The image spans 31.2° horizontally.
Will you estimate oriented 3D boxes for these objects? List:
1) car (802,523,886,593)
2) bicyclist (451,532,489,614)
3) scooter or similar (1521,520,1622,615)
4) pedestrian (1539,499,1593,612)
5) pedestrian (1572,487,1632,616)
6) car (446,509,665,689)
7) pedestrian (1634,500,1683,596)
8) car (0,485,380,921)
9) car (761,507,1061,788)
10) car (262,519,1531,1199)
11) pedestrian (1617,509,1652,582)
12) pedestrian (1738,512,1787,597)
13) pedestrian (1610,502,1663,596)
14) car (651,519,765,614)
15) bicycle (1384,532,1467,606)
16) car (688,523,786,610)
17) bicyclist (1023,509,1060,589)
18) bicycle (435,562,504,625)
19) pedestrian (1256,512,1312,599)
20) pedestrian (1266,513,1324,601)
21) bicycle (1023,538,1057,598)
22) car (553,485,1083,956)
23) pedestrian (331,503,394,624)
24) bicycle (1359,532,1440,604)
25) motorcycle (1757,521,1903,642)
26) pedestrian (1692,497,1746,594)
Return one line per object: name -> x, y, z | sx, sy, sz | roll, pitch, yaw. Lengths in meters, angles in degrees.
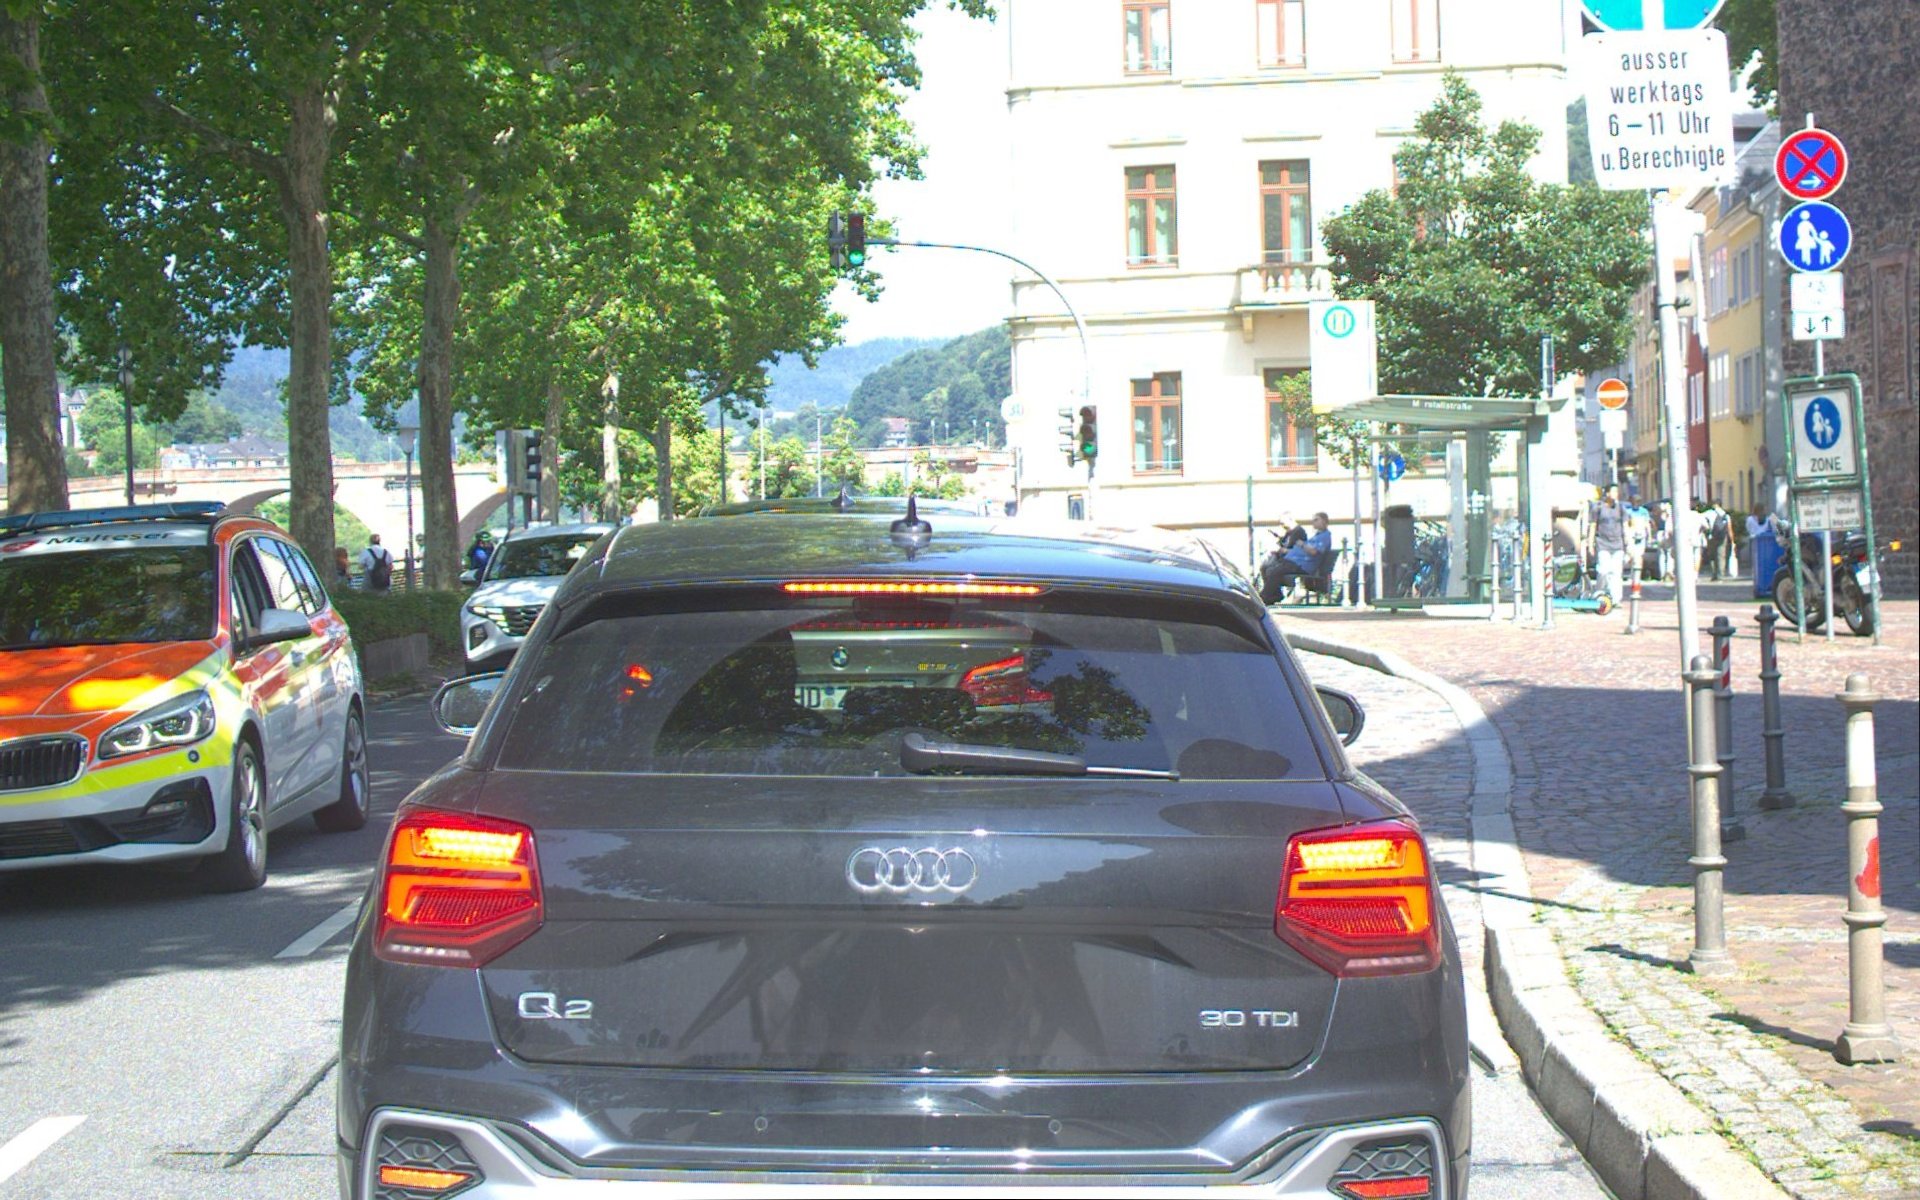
car -> -3.040, -1.099, 90.528 | 1.993, 1.800, 4.000 | 1, 0, 1
bicyclist -> -7.947, -0.440, 55.800 | 0.566, 1.307, 0.552 | 1, 0, -5
scooter or similar -> 7.014, -0.372, 39.429 | 1.088, 1.062, 0.323 | 1, 0, -2
pedestrian -> 7.488, -0.551, 42.494 | 0.557, 1.380, 0.588 | 1, 0, 2
pedestrian -> 9.516, -0.715, 50.986 | 0.747, 1.884, 0.752 | 1, 0, 2
car -> -4.093, -0.050, 35.348 | 1.769, 1.654, 4.000 | -3, 1, -1
pedestrian -> 14.749, -1.087, 72.594 | 0.839, 2.007, 0.738 | 1, 0, 0
car -> -3.836, 0.385, 15.549 | 1.673, 1.654, 4.223 | -4, 1, -1
car -> -0.299, 0.233, 21.513 | 1.710, 1.603, 3.655 | 0, 1, -1
car -> -0.113, 0.613, 6.586 | 1.743, 1.504, 3.647 | 1, 1, -1
pedestrian -> 14.098, -1.136, 71.826 | 0.622, 1.526, 0.466 | 1, 0, 0
pedestrian -> 15.518, -0.877, 66.453 | 0.692, 1.607, 0.890 | -2, 1, 26
pedestrian -> 14.528, -1.097, 73.846 | 0.944, 2.007, 0.807 | 1, 0, 0
car -> -4.614, -0.653, 63.502 | 1.738, 1.566, 4.092 | -4, 1, 0
bicycle -> 6.630, -0.439, 48.937 | 1.201, 1.031, 0.179 | 1, 0, -19
car -> -5.038, -0.784, 78.216 | 1.813, 1.719, 4.422 | -6, 1, 0
bicyclist -> 1.477, -0.922, 62.386 | 0.605, 1.445, 0.591 | 1, 0, -5
bicycle -> -7.953, -0.103, 55.788 | 1.093, 1.003, 0.304 | 0, 0, -7
pedestrian -> 4.600, -0.635, 48.877 | 0.663, 1.227, 0.641 | 1, 0, -6
pedestrian -> 4.677, -0.601, 48.034 | 0.663, 1.207, 0.641 | 1, 0, -6
bicycle -> 1.449, -0.580, 62.356 | 0.437, 1.082, 1.677 | 1, 0, -5
car -> -0.506, 0.377, 13.476 | 1.793, 1.589, 3.399 | 1, 1, -1
pedestrian -> -10.027, -0.612, 57.691 | 0.911, 2.007, 0.585 | 1, 0, 4
bicycle -> 6.335, -0.461, 49.552 | 1.184, 1.012, 0.179 | 1, 0, -19
motorcycle -> 7.601, -0.184, 30.135 | 0.566, 1.009, 2.490 | -1, 1, -2
pedestrian -> 15.957, -1.141, 72.302 | 0.940, 2.007, 0.807 | 1, 0, 0
